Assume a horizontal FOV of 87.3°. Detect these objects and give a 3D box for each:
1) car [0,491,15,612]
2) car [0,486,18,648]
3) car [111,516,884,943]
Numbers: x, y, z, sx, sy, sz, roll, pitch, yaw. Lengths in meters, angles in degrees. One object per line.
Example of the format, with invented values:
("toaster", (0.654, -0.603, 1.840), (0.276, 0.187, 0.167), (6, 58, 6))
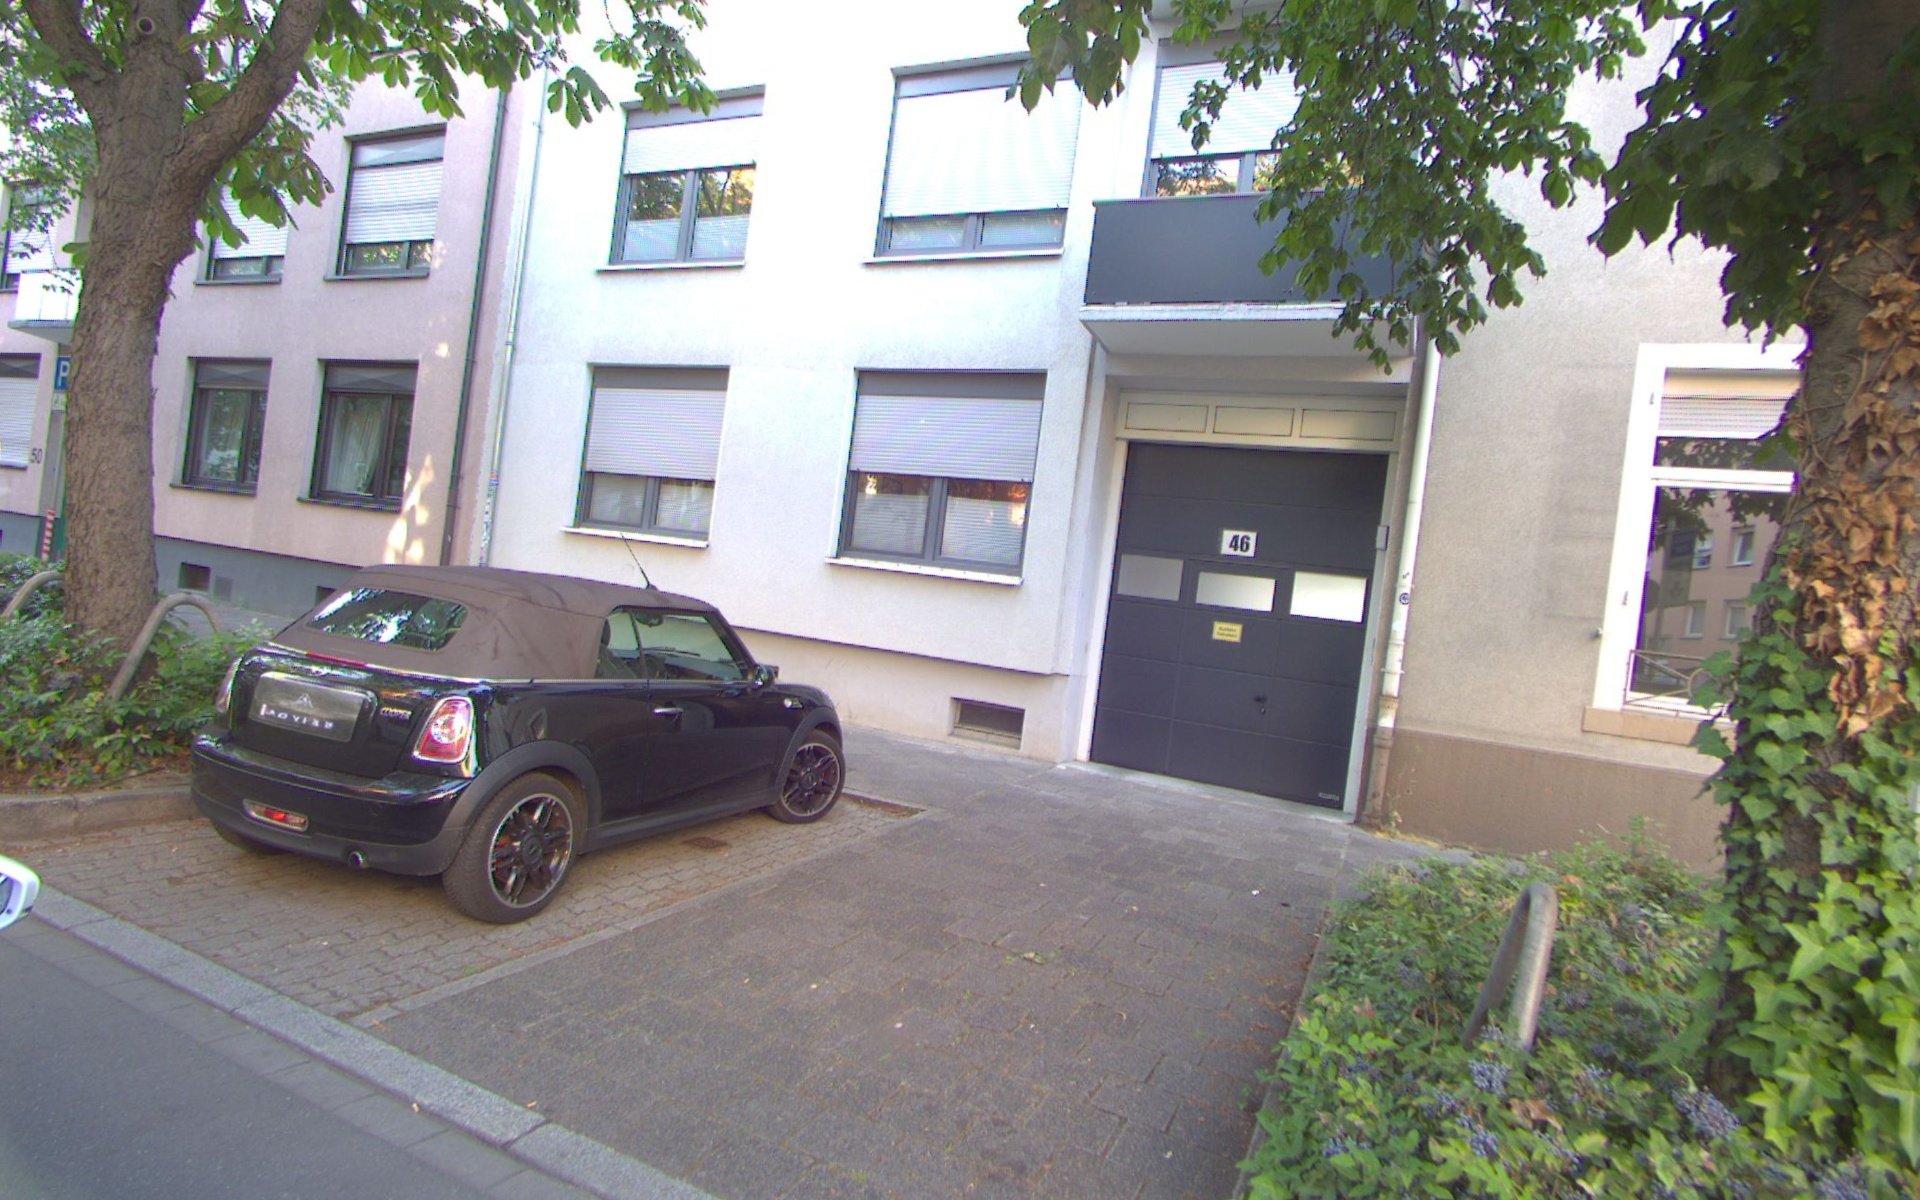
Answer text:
("car", (-13.350, -0.811, 11.048), (1.634, 1.494, 3.921), (7, -1, 24))
("car", (-8.148, -0.261, 5.101), (4.727, 1.497, 1.779), (8, -1, -41))
("car", (-2.021, 0.547, 5.533), (1.634, 1.380, 3.622), (7, -1, 22))
